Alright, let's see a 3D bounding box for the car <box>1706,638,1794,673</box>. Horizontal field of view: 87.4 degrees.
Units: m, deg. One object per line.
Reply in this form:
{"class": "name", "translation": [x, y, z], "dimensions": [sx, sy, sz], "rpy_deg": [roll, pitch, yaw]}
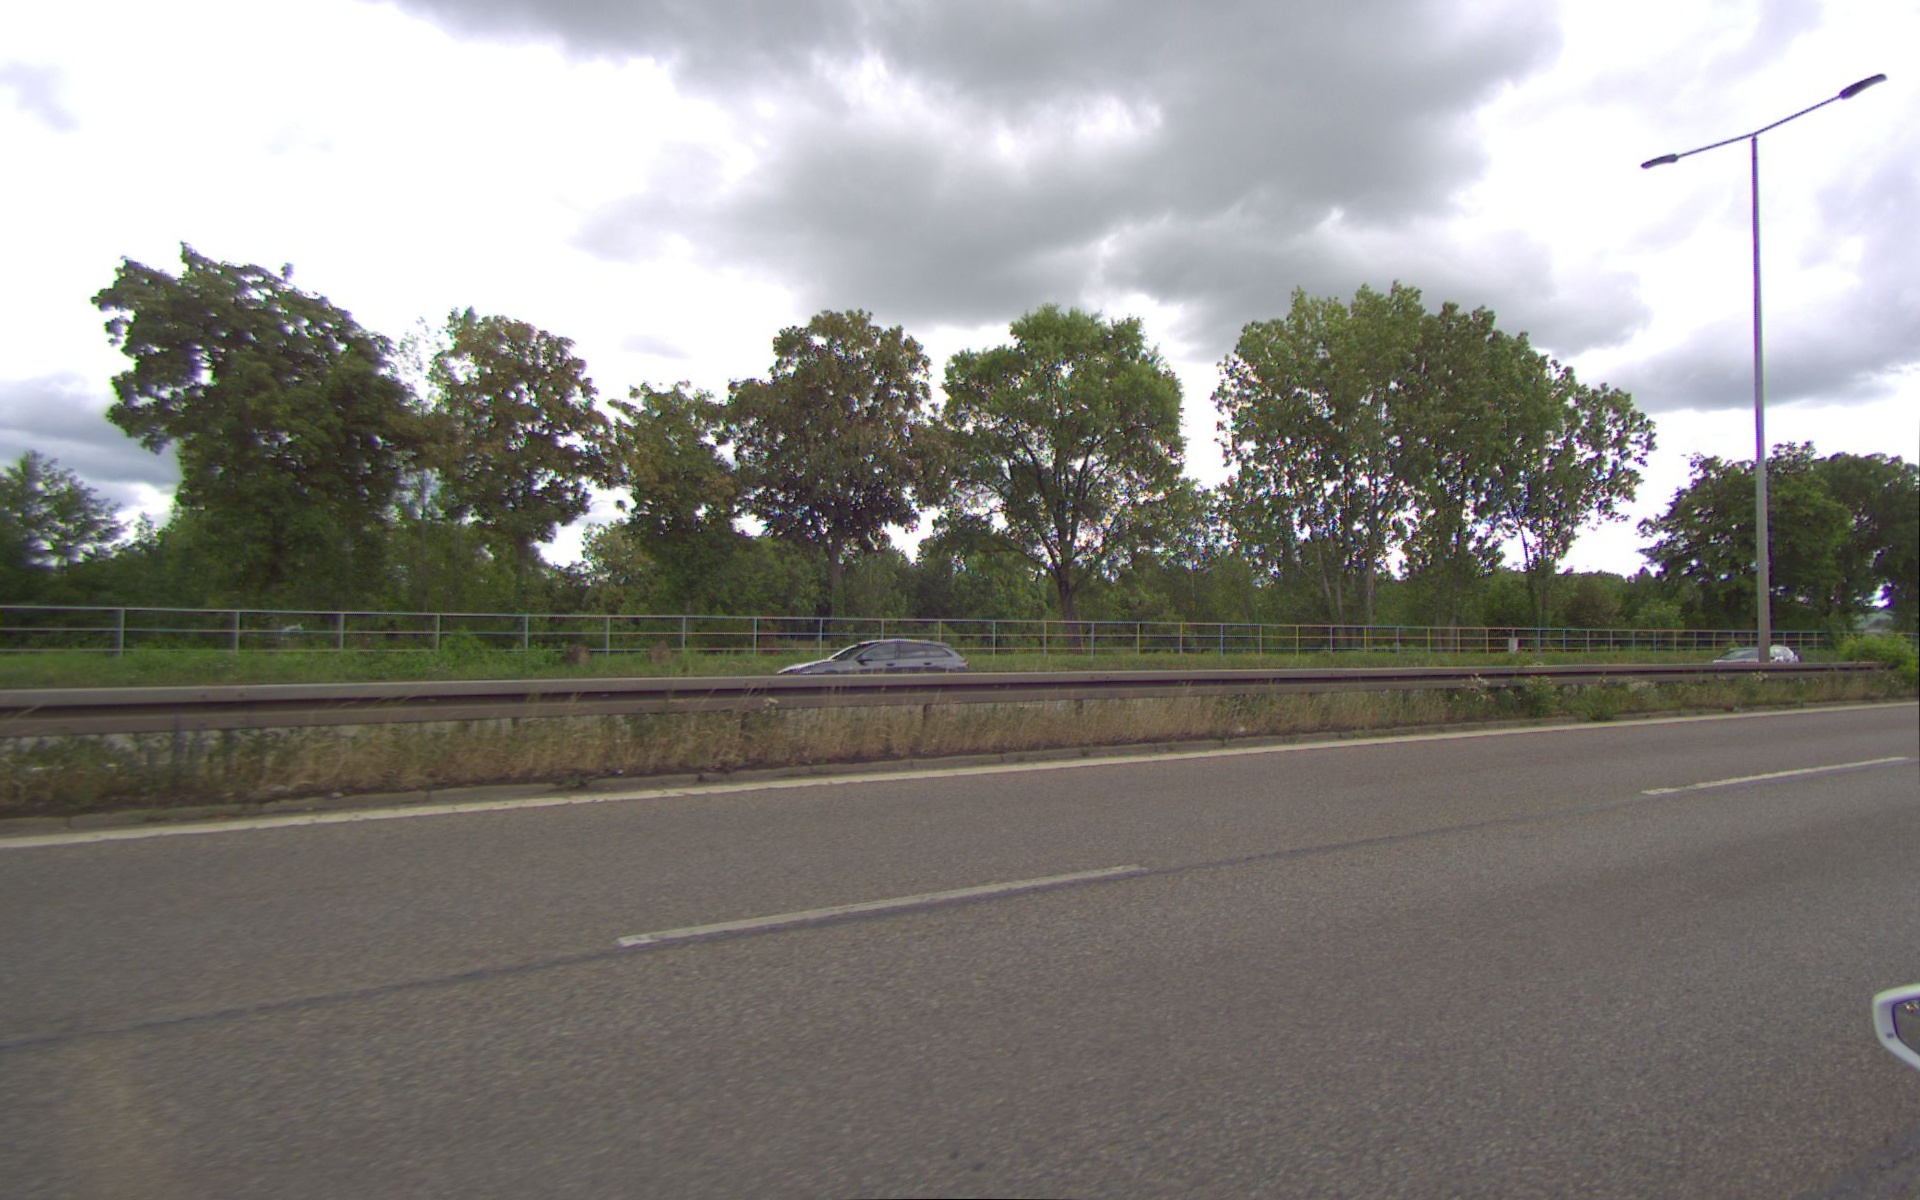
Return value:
{"class": "car", "translation": [37.163, 2.574, 47.226], "dimensions": [4.153, 1.509, 1.870], "rpy_deg": [1, -1, -30]}

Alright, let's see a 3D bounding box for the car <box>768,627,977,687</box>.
{"class": "car", "translation": [-2.021, 1.305, 23.856], "dimensions": [4.733, 1.316, 1.651], "rpy_deg": [1, -1, -32]}
